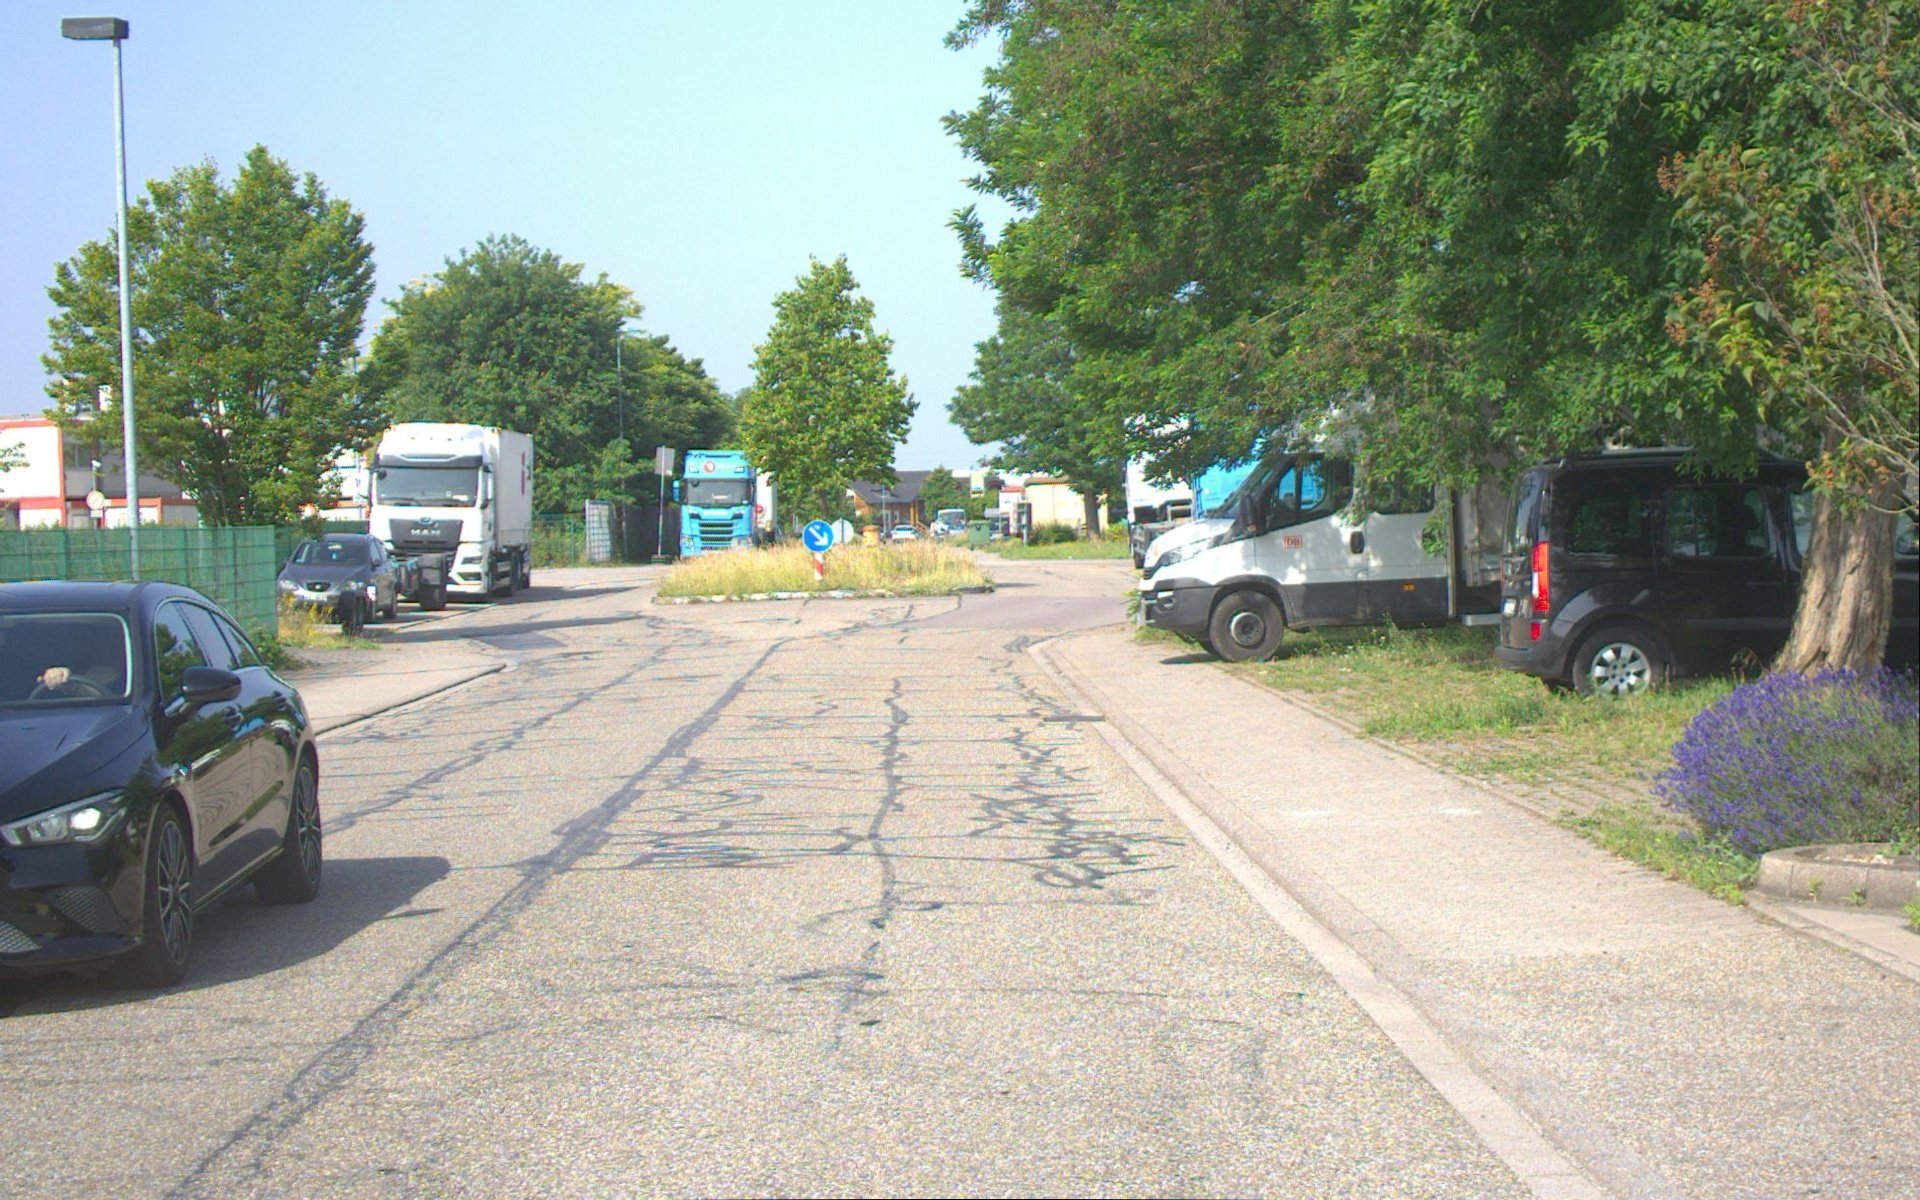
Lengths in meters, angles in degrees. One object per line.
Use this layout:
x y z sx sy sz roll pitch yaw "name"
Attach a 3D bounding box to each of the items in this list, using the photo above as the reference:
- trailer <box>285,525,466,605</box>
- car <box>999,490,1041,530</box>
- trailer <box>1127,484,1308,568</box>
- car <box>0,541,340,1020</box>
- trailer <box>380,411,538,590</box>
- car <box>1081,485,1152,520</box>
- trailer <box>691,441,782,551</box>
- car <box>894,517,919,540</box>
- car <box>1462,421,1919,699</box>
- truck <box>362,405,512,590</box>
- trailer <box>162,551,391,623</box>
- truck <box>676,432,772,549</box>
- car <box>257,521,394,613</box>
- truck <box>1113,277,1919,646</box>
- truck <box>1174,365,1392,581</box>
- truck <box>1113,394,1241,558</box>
-11.560 -0.727 68.423 2.681 1.448 5.077 -1 2 1 "trailer"
2.781 -4.179 160.224 1.792 1.744 4.000 0 0 -2 "car"
5.750 -1.731 79.701 2.746 1.568 16.173 -4 1 0 "trailer"
-3.684 0.578 12.882 1.993 1.444 4.420 -4 1 -2 "car"
-11.468 -2.219 79.330 2.699 3.908 7.576 0 0 -1 "trailer"
6.145 -3.833 135.447 1.667 1.325 3.664 0 0 -17 "car"
-8.283 -3.802 128.763 2.831 3.829 12.037 0 0 -1 "trailer"
-3.973 -5.298 256.226 1.718 1.655 3.824 0 0 -2 "car"
5.793 -0.319 24.855 3.987 1.831 2.000 -2 1 1 "car"
-11.375 -2.191 75.065 2.708 3.908 4.297 0 0 -1 "truck"
-10.927 -0.241 55.535 2.546 0.922 6.711 2 2 -2 "trailer"
-8.131 -3.733 119.502 2.825 3.812 9.673 0 0 -1 "truck"
-11.437 -0.620 62.215 1.695 1.556 4.336 1 2 -1 "car"
5.831 -1.392 35.479 8.208 3.358 2.741 -2 0 -1 "truck"
5.939 -2.271 64.795 2.888 3.523 9.755 -5 1 0 "truck"
5.553 -3.174 88.731 2.746 3.968 4.000 -4 1 0 "truck"
